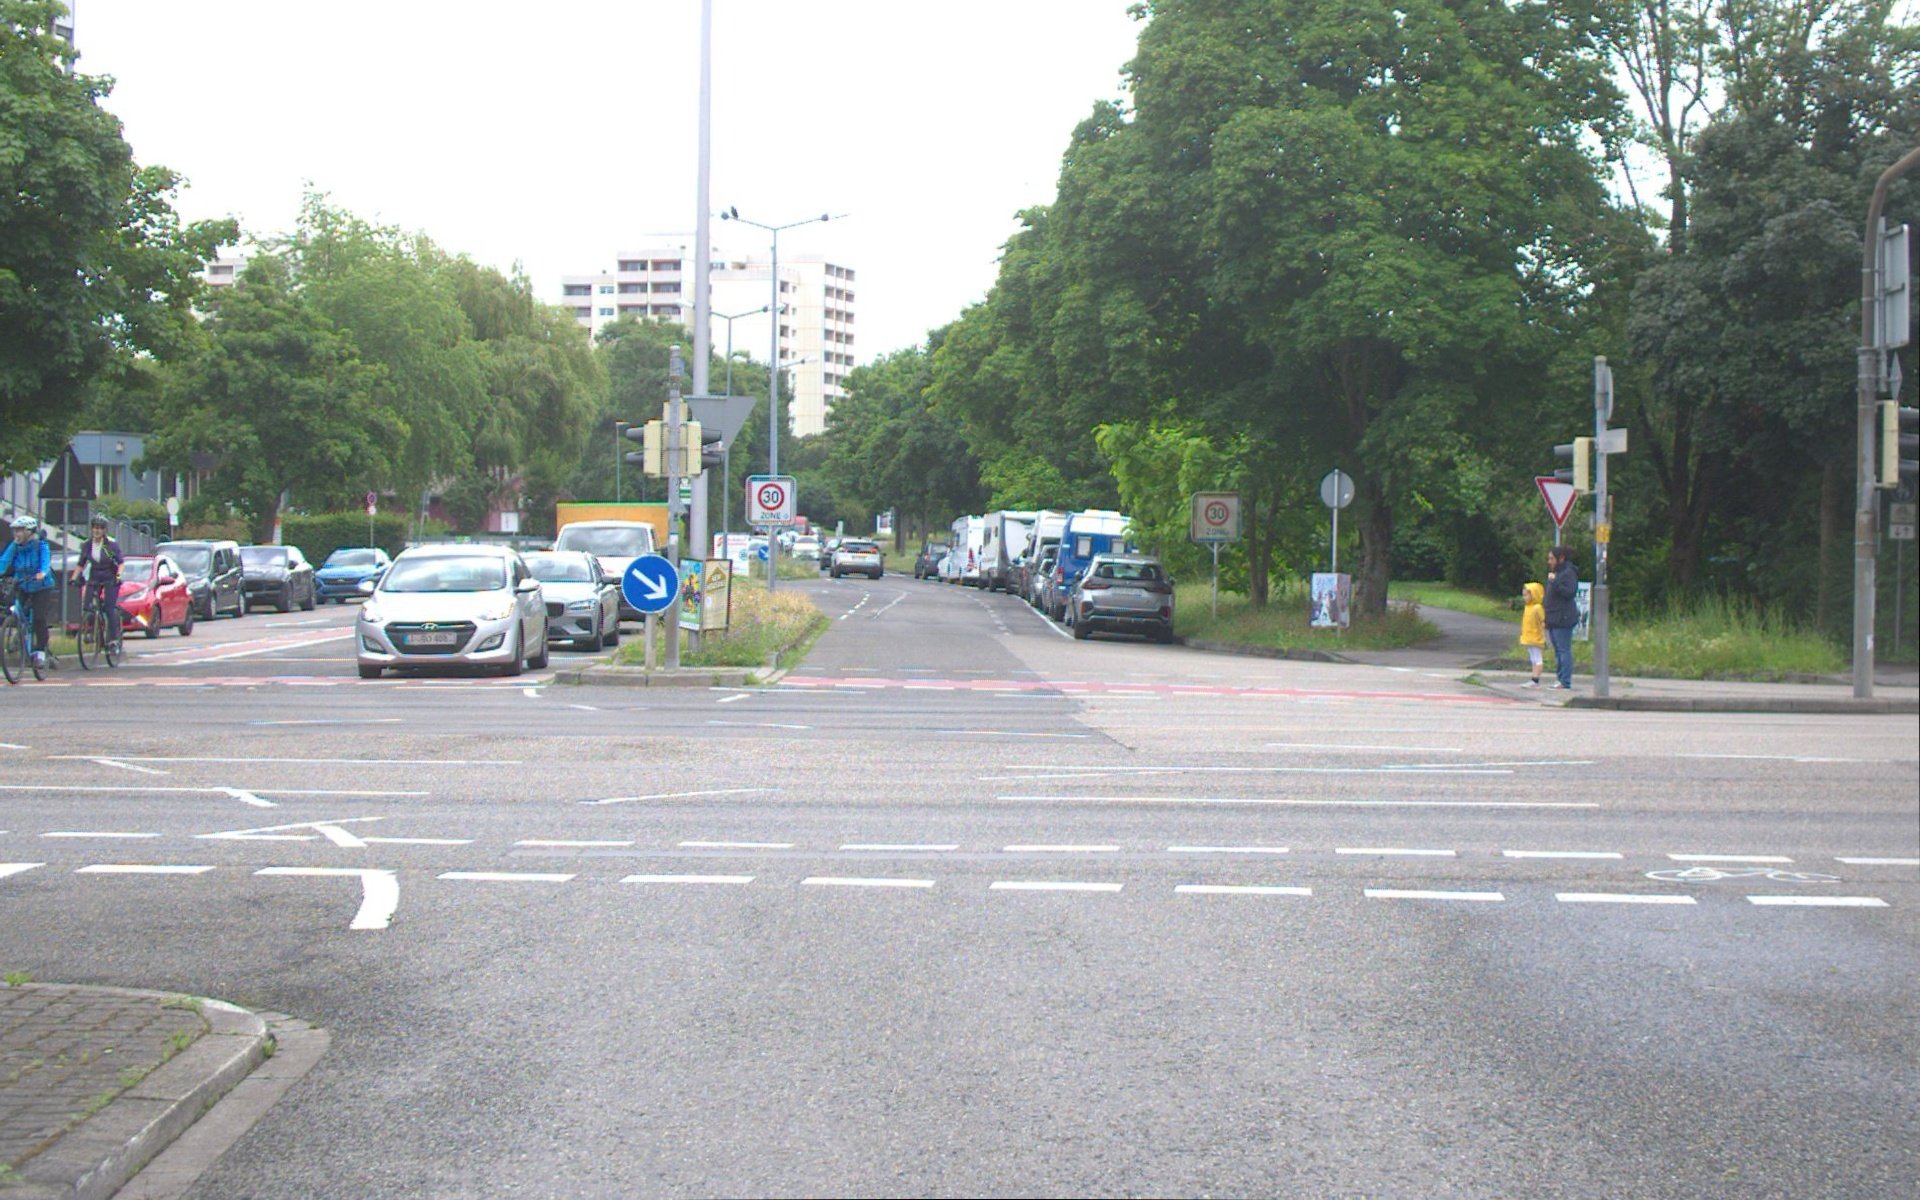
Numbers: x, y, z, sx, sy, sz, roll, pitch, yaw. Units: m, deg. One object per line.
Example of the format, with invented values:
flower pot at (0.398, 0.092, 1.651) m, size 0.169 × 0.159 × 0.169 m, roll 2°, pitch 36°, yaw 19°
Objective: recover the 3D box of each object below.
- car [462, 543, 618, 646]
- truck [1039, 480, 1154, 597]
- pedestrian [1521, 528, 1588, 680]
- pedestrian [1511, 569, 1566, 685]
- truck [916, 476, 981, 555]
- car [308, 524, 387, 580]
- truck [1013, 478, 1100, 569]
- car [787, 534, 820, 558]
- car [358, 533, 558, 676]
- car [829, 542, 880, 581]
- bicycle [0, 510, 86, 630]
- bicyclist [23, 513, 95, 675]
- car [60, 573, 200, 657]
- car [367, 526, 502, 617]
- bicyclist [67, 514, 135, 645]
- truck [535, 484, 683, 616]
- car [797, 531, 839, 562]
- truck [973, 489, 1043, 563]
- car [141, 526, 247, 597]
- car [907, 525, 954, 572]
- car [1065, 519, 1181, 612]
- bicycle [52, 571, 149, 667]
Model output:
car at (-6.115, -0.116, 50.517) m, size 1.896 × 1.415 × 4.737 m, roll 1°, pitch 1°, yaw -2°
truck at (3.162, -1.443, 81.116) m, size 2.174 × 2.647 × 6.247 m, roll 0°, pitch 1°, yaw -3°
pedestrian at (6.880, 0.047, 39.794) m, size 0.657 × 1.744 × 0.459 m, roll 0°, pitch 1°, yaw -3°
pedestrian at (6.791, 0.313, 40.353) m, size 0.526 × 1.337 × 0.525 m, roll 0°, pitch 1°, yaw -3°
truck at (-0.468, -3.254, 133.218) m, size 1.993 × 2.998 × 5.773 m, roll 0°, pitch 1°, yaw -6°
car at (-17.521, -1.383, 98.455) m, size 1.671 × 1.546 × 4.001 m, roll 0°, pitch 1°, yaw -2°
truck at (3.062, -2.454, 110.471) m, size 1.993 × 2.828 × 5.733 m, roll 0°, pitch 1°, yaw -6°
car at (-9.879, -3.423, 217.165) m, size 2.020 × 1.500 × 4.001 m, roll 0°, pitch 1°, yaw -3°
car at (-5.638, 0.055, 39.020) m, size 1.789 × 1.514 × 4.326 m, roll -1°, pitch 0°, yaw -2°
car at (-4.345, -1.599, 141.516) m, size 2.020 × 1.500 × 4.001 m, roll 0°, pitch 1°, yaw -3°
bicycle at (-9.958, -0.343, 37.218) m, size 0.542 × 1.263 × 2.111 m, roll 0°, pitch 1°, yaw -3°
bicyclist at (-9.931, -0.071, 37.904) m, size 0.644 × 1.762 × 0.647 m, roll 0°, pitch 1°, yaw -2°
car at (-14.283, 0.237, 59.336) m, size 1.512 × 1.385 × 3.533 m, roll 0°, pitch 1°, yaw 1°
car at (-8.854, -0.516, 58.243) m, size 1.770 × 1.472 × 4.390 m, roll 0°, pitch 1°, yaw -2°
bicyclist at (-10.497, -0.249, 42.045) m, size 0.679 × 1.589 × 0.695 m, roll 0°, pitch 1°, yaw -3°
truck at (-6.102, -0.906, 60.363) m, size 2.155 × 2.191 × 5.841 m, roll 0°, pitch 1°, yaw -2°
car at (-6.966, -2.633, 168.287) m, size 2.020 × 1.500 × 4.001 m, roll 0°, pitch 1°, yaw -3°
truck at (1.696, -2.620, 122.504) m, size 1.993 × 2.564 × 5.379 m, roll 0°, pitch 1°, yaw -4°
car at (-17.375, -0.897, 78.128) m, size 1.671 × 1.546 × 3.762 m, roll 0°, pitch 1°, yaw -2°
car at (-1.302, -2.250, 149.104) m, size 1.651 × 1.911 × 3.920 m, roll 0°, pitch 2°, yaw -6°
car at (3.010, -0.673, 64.310) m, size 1.783 × 1.656 × 4.001 m, roll 0°, pitch 1°, yaw -3°
bicycle at (-10.550, 0.218, 42.279) m, size 0.726 × 1.097 × 2.264 m, roll 0°, pitch 1°, yaw -3°
